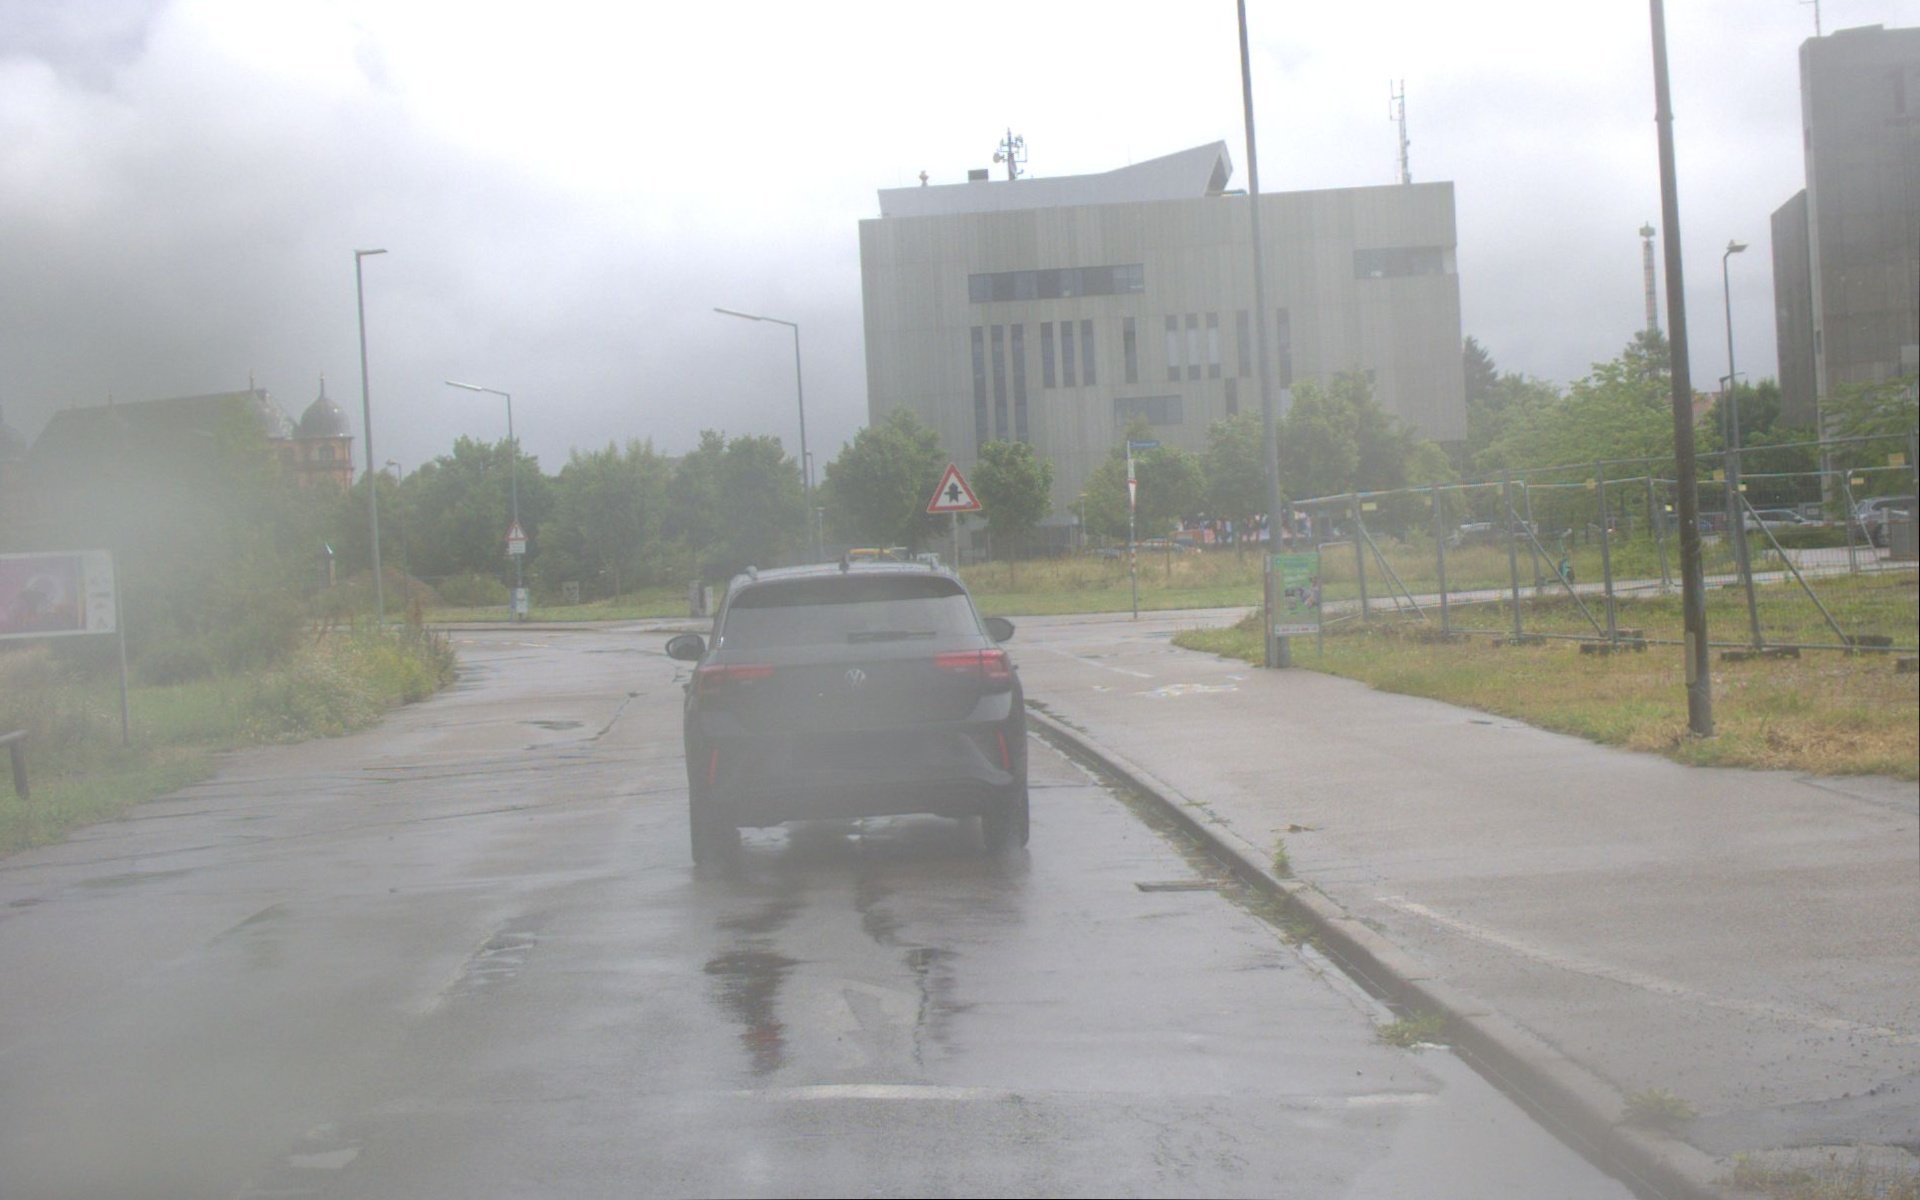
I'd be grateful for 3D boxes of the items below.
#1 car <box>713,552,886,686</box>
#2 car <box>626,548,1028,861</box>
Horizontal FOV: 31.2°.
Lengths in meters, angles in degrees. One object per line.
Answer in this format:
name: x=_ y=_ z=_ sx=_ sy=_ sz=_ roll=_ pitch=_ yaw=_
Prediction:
car: x=-2.068 y=0.203 z=43.406 sx=1.841 sy=1.437 sz=4.001 roll=-6 pitch=1 yaw=-6
car: x=-0.748 y=0.486 z=19.031 sx=1.986 sy=1.515 sz=4.001 roll=0 pitch=1 yaw=-3
